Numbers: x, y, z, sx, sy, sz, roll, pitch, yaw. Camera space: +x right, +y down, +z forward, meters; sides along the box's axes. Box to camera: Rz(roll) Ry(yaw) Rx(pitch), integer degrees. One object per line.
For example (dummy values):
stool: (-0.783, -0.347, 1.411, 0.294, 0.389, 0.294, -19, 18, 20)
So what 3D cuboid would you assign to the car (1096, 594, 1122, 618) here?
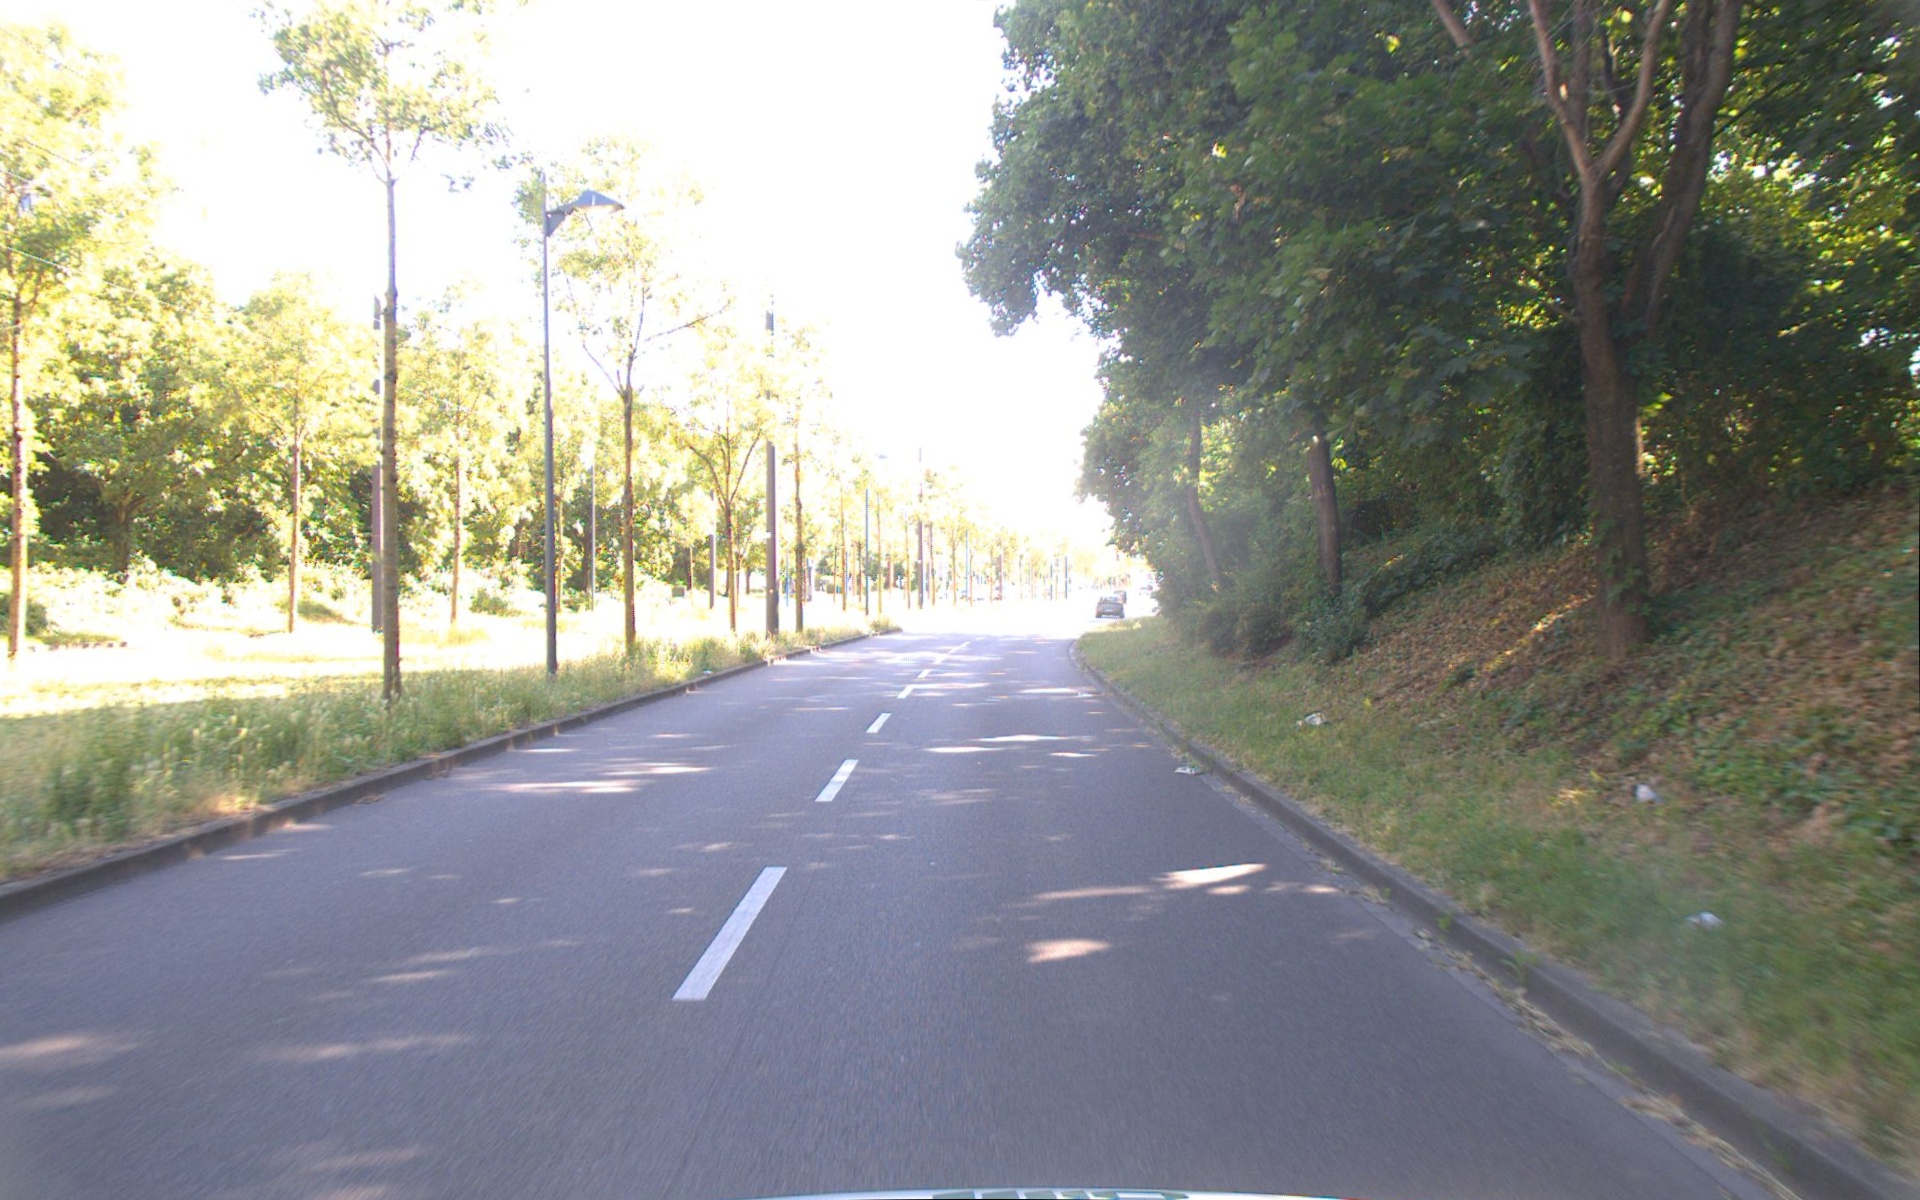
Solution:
car: (9.737, 0.399, 107.880, 1.599, 1.524, 4.238, 0, 0, 7)

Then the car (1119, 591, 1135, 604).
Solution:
car: (19.656, -0.306, 194.757, 1.599, 1.524, 4.238, 0, 0, 8)

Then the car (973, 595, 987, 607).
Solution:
car: (3.020, 0.127, 245.160, 1.596, 1.710, 4.195, 0, 0, 7)

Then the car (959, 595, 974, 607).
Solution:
car: (0.898, 0.118, 230.256, 1.596, 1.710, 4.195, 0, 0, 6)
